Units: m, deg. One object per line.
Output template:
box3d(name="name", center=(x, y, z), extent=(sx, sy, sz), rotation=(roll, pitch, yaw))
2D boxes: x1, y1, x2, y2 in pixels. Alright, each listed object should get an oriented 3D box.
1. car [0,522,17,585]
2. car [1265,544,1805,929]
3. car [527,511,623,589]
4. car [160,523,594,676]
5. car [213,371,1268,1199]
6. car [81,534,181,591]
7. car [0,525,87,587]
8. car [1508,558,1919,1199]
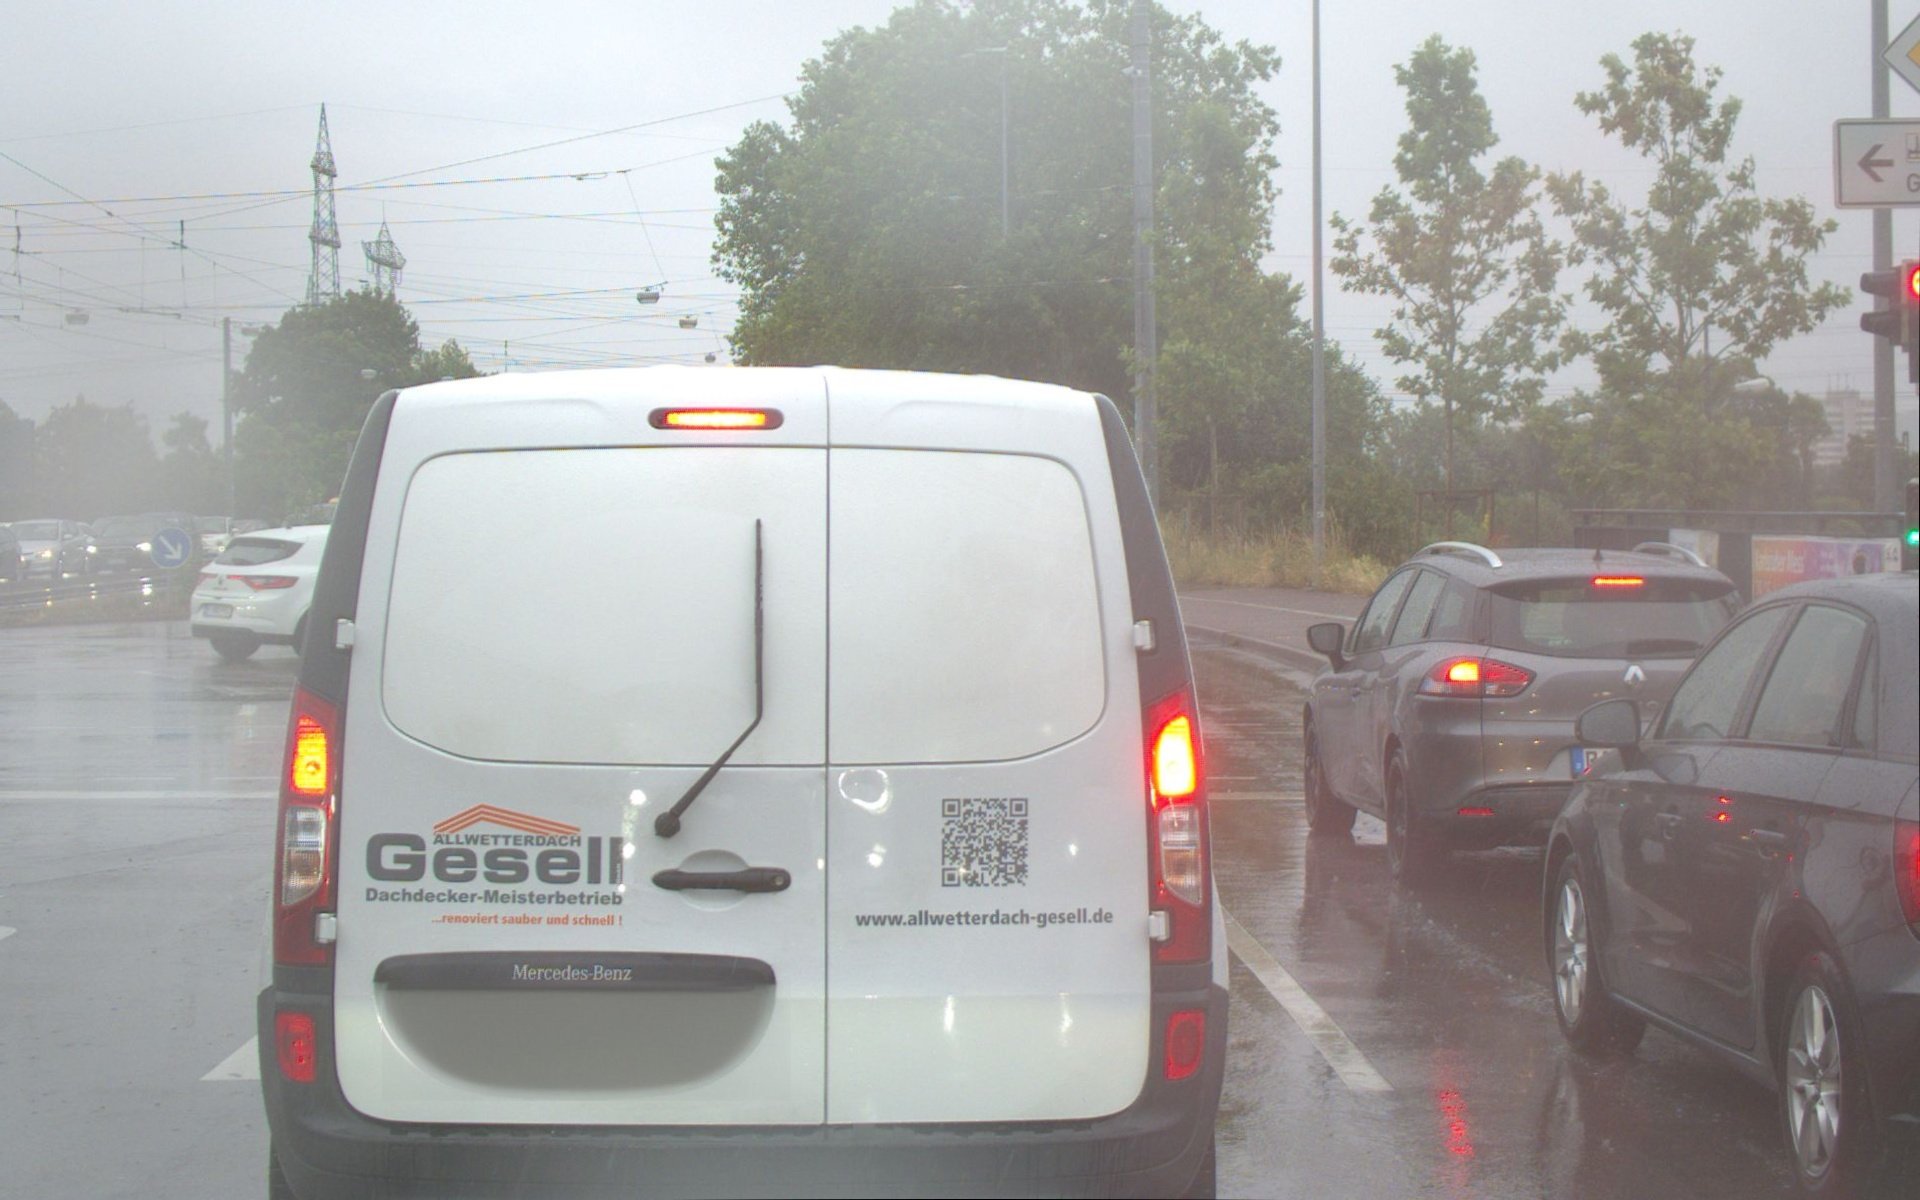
box3d(name="car", center=(-22.539, -1.075, 77.509), extent=(1.559, 1.421, 3.569), rotation=(2, 0, -1))
box3d(name="car", center=(2.468, 0.515, 15.665), extent=(1.684, 1.503, 3.921), rotation=(1, 1, -1))
box3d(name="car", center=(-8.818, -1.129, 79.122), extent=(1.947, 1.656, 4.465), rotation=(2, 0, -4))
box3d(name="car", center=(-6.272, 0.008, 37.245), extent=(4.260, 1.496, 1.821), rotation=(2, 0, -41))
box3d(name="car", center=(-0.512, 0.431, 7.851), extent=(1.754, 1.744, 4.170), rotation=(1, 2, -4))
box3d(name="car", center=(-21.992, -0.982, 91.313), extent=(1.710, 1.421, 3.809), rotation=(2, 0, -1))
box3d(name="car", center=(-22.558, -1.062, 83.998), extent=(1.559, 1.421, 3.569), rotation=(2, 0, -1))
box3d(name="car", center=(2.551, 0.592, 8.625), extent=(1.597, 1.362, 3.631), rotation=(-1, 0, -3))
